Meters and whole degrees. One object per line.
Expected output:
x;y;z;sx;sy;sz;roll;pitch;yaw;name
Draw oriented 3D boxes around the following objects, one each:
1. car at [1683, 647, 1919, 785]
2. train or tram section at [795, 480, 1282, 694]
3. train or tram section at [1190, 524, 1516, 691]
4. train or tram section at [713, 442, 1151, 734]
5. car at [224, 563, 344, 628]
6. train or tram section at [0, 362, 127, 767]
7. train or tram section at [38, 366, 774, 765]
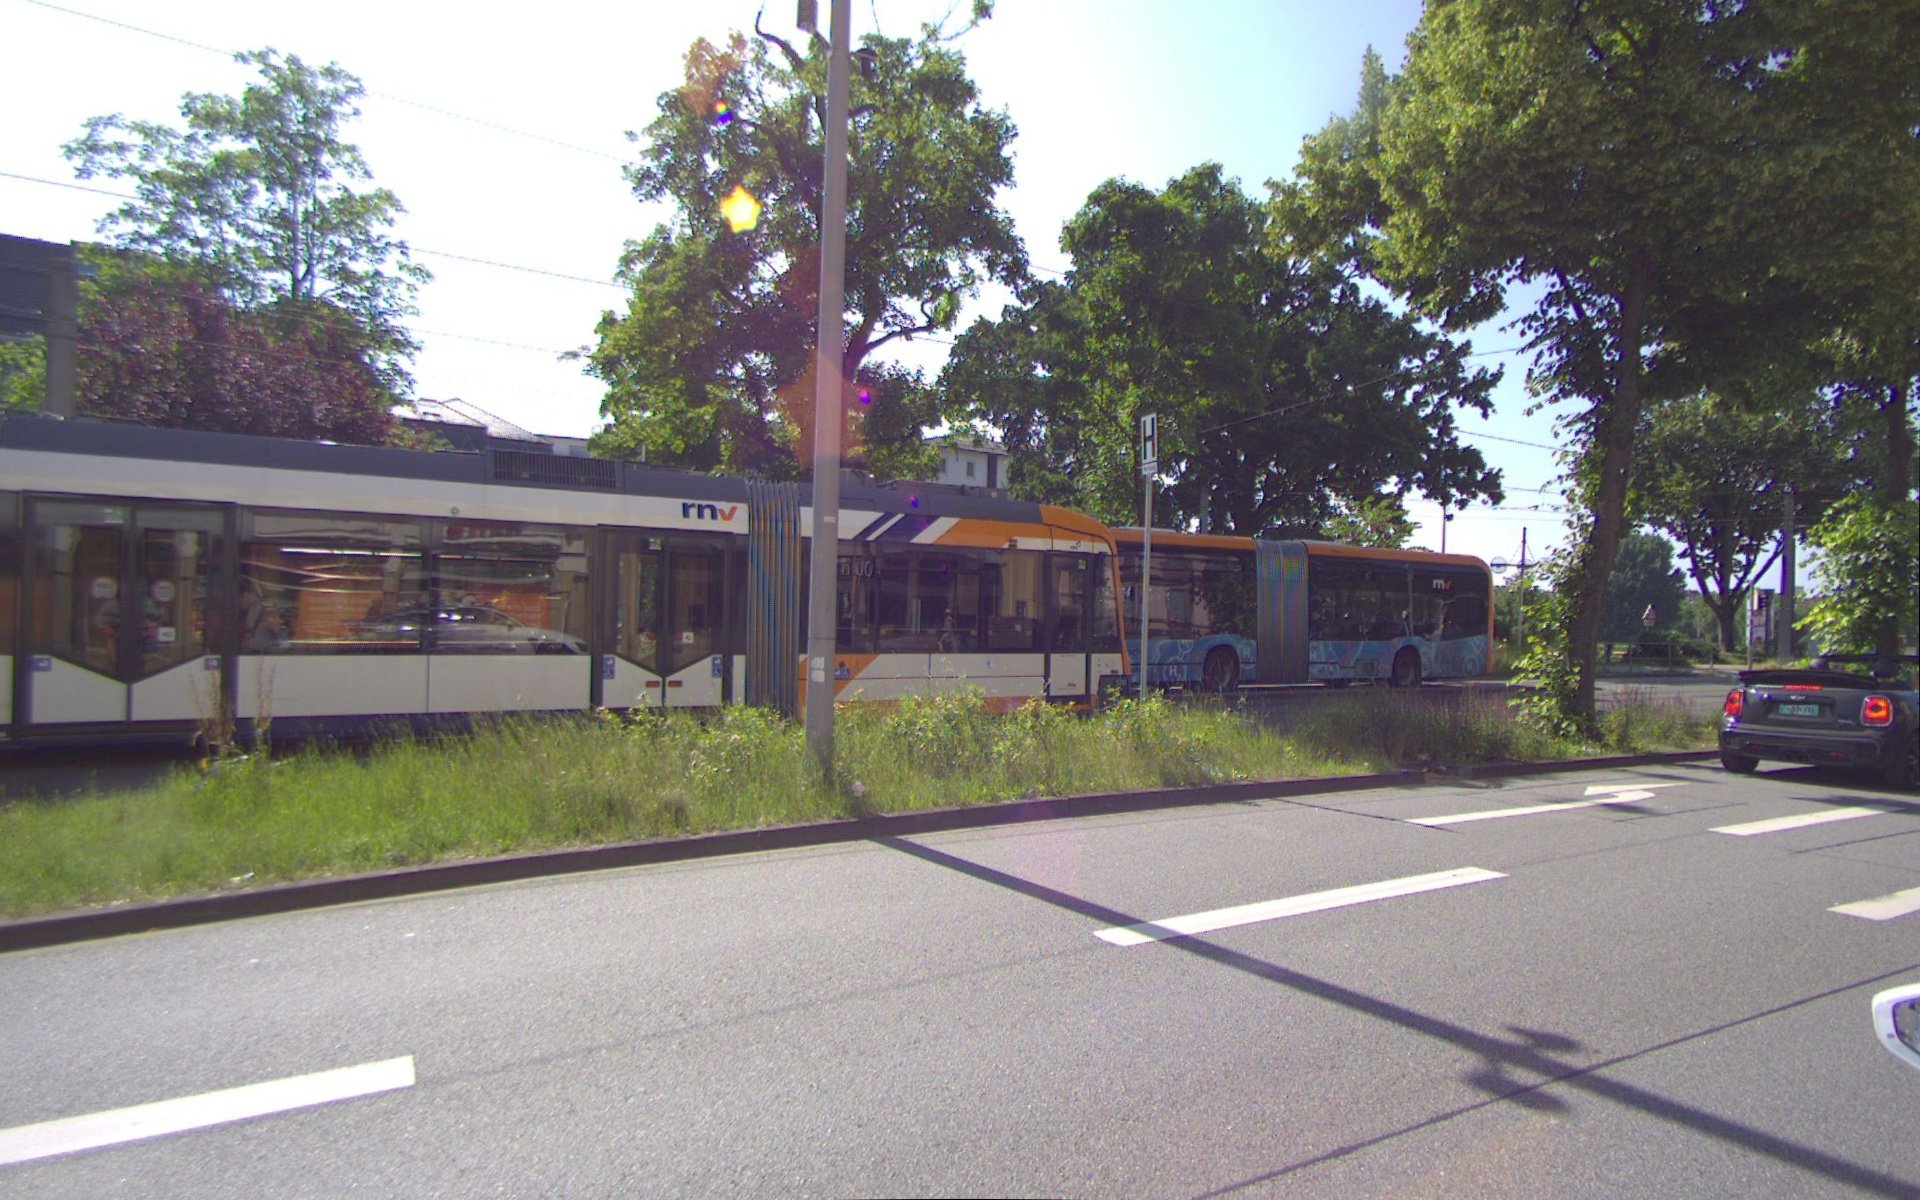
10.418;1.264;11.584;3.950;1.349;1.809;3;-4;-28;car
1.875;-0.093;20.627;9.907;3.629;2.811;2;1;-28;train or tram section
9.850;0.250;24.923;8.123;3.629;2.811;2;1;-28;train or tram section
-0.366;-0.093;15.082;5.944;3.629;2.602;2;1;-29;train or tram section
-38.264;-0.253;57.042;5.355;3.360;2.117;3;1;-29;car
-11.240;-0.438;9.014;5.292;3.629;2.602;2;1;-29;train or tram section
-5.967;-0.242;11.938;6.814;3.629;2.602;2;1;-29;train or tram section
